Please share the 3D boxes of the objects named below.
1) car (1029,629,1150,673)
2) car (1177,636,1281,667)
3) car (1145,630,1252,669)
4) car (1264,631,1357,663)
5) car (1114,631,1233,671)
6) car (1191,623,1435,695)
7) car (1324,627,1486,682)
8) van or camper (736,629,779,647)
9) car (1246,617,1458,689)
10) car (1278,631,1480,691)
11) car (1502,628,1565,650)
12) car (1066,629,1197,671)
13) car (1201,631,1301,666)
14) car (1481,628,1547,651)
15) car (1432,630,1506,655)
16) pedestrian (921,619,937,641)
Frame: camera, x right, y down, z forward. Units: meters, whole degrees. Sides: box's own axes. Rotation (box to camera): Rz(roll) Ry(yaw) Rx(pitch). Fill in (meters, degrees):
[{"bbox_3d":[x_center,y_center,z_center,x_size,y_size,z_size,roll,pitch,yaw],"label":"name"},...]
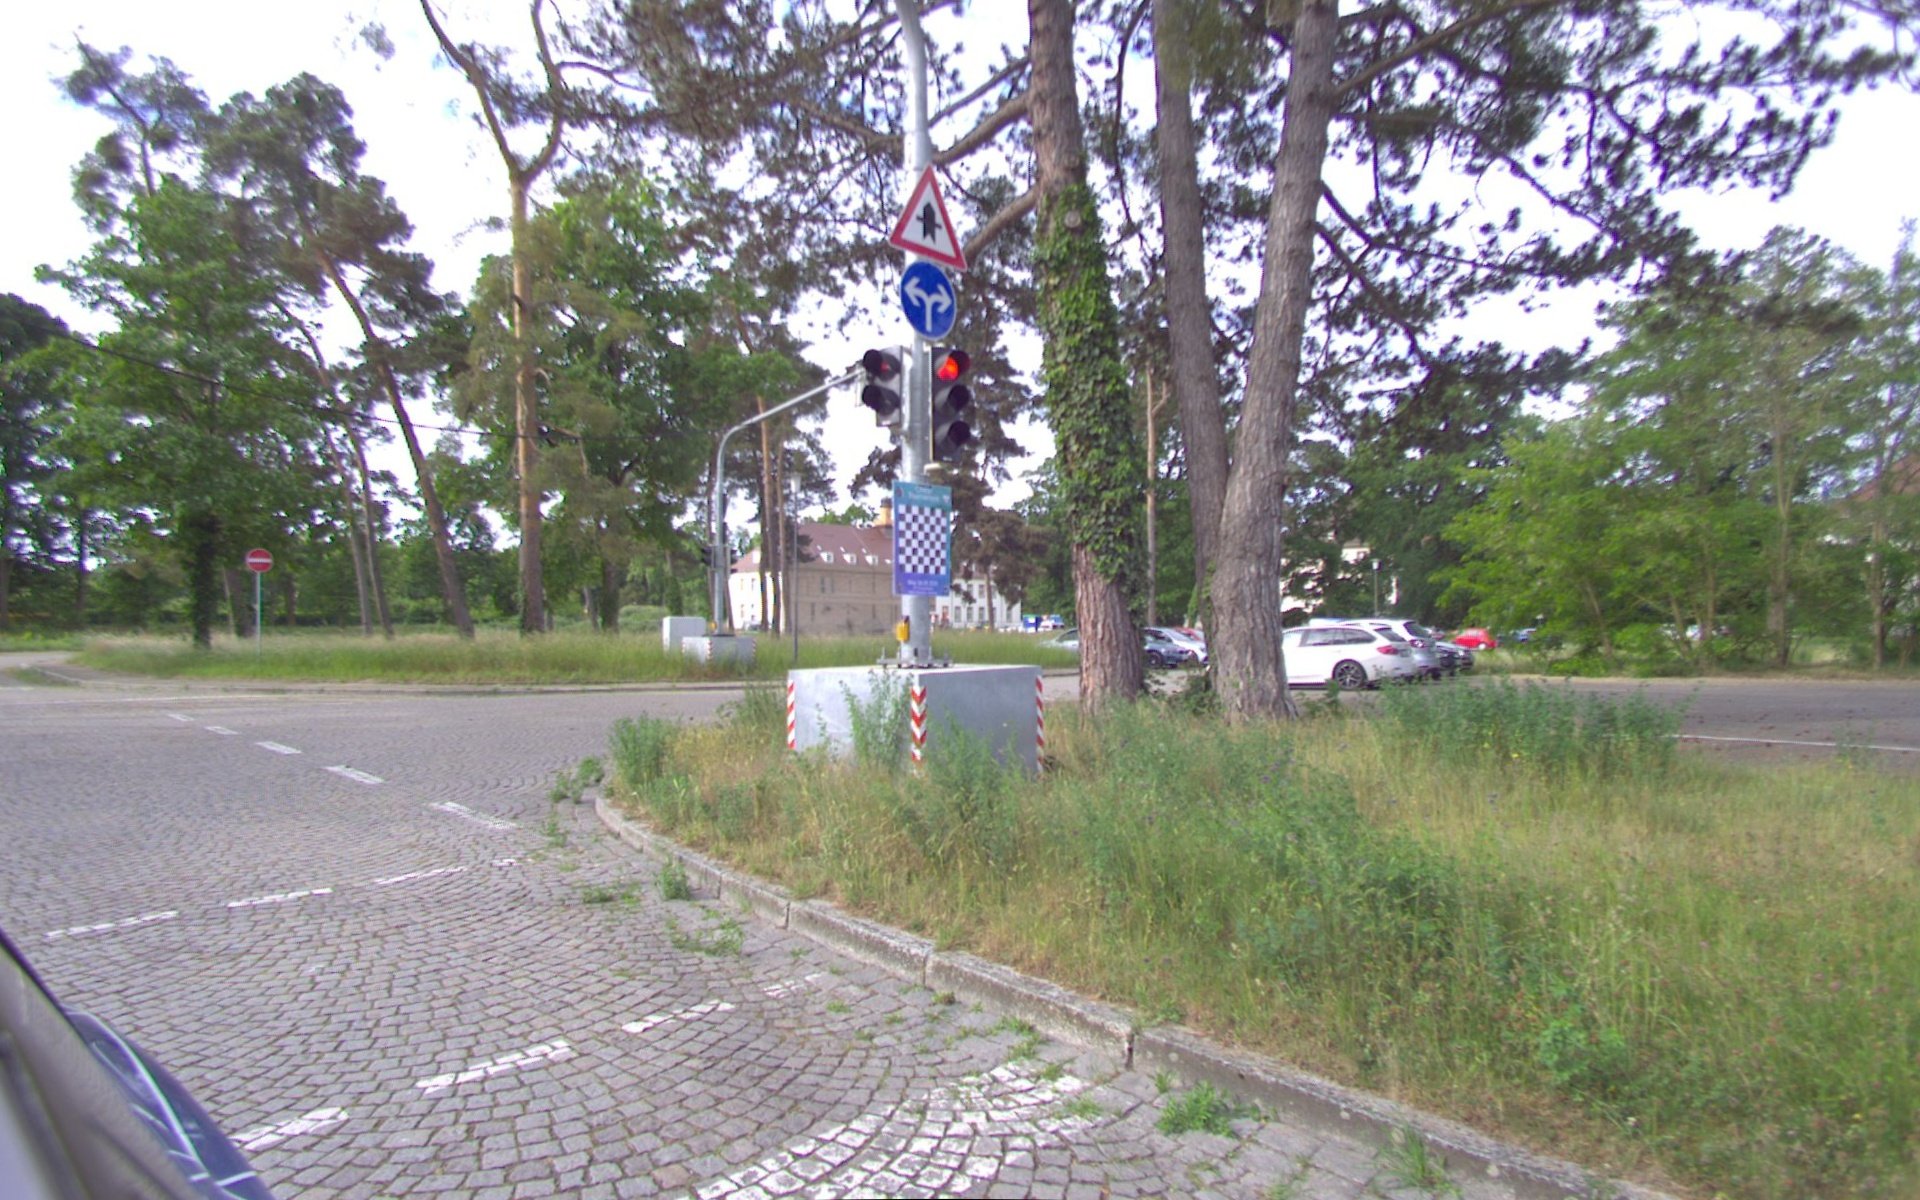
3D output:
[{"bbox_3d":[4.520,1.761,35.746,1.770,1.429,4.002,2,-2,-45],"label":"car"},{"bbox_3d":[11.370,2.157,42.939,1.770,1.244,3.938,2,-2,-45],"label":"car"},{"bbox_3d":[9.666,1.976,41.234,1.769,1.524,3.939,2,-2,-43],"label":"car"},{"bbox_3d":[17.014,2.254,49.222,3.937,1.460,1.770,-1,-2,44],"label":"car"},{"bbox_3d":[8.261,1.942,39.412,1.769,1.456,4.274,2,-2,-43],"label":"car"},{"bbox_3d":[7.871,1.368,22.901,4.819,1.451,1.887,-5,-5,42],"label":"car"},{"bbox_3d":[12.750,1.522,29.111,3.983,1.467,1.658,-1,-2,40],"label":"car"},{"bbox_3d":[-27.002,5.058,134.662,6.125,2.324,2.431,-1,-2,42],"label":"van or camper"},{"bbox_3d":[9.540,1.312,24.863,4.484,1.602,1.822,-4,-4,40],"label":"car"},{"bbox_3d":[11.112,1.567,27.030,4.633,1.433,1.859,-1,-2,41],"label":"car"},{"bbox_3d":[43.633,2.957,77.049,1.970,1.637,3.796,2,-2,-44],"label":"car"},{"bbox_3d":[6.294,1.804,37.588,4.635,1.456,1.770,-1,-2,44],"label":"car"},{"bbox_3d":[12.954,2.114,45.130,1.770,1.487,3.938,2,-2,-45],"label":"car"},{"bbox_3d":[40.471,2.878,73.966,1.970,1.581,3.796,2,-2,-44],"label":"car"},{"bbox_3d":[33.483,2.740,66.586,3.998,1.581,1.973,-1,-2,41],"label":"car"},{"bbox_3d":[-3.077,3.013,101.174,1.185,2.194,1.040,-2,-2,44],"label":"pedestrian"}]
